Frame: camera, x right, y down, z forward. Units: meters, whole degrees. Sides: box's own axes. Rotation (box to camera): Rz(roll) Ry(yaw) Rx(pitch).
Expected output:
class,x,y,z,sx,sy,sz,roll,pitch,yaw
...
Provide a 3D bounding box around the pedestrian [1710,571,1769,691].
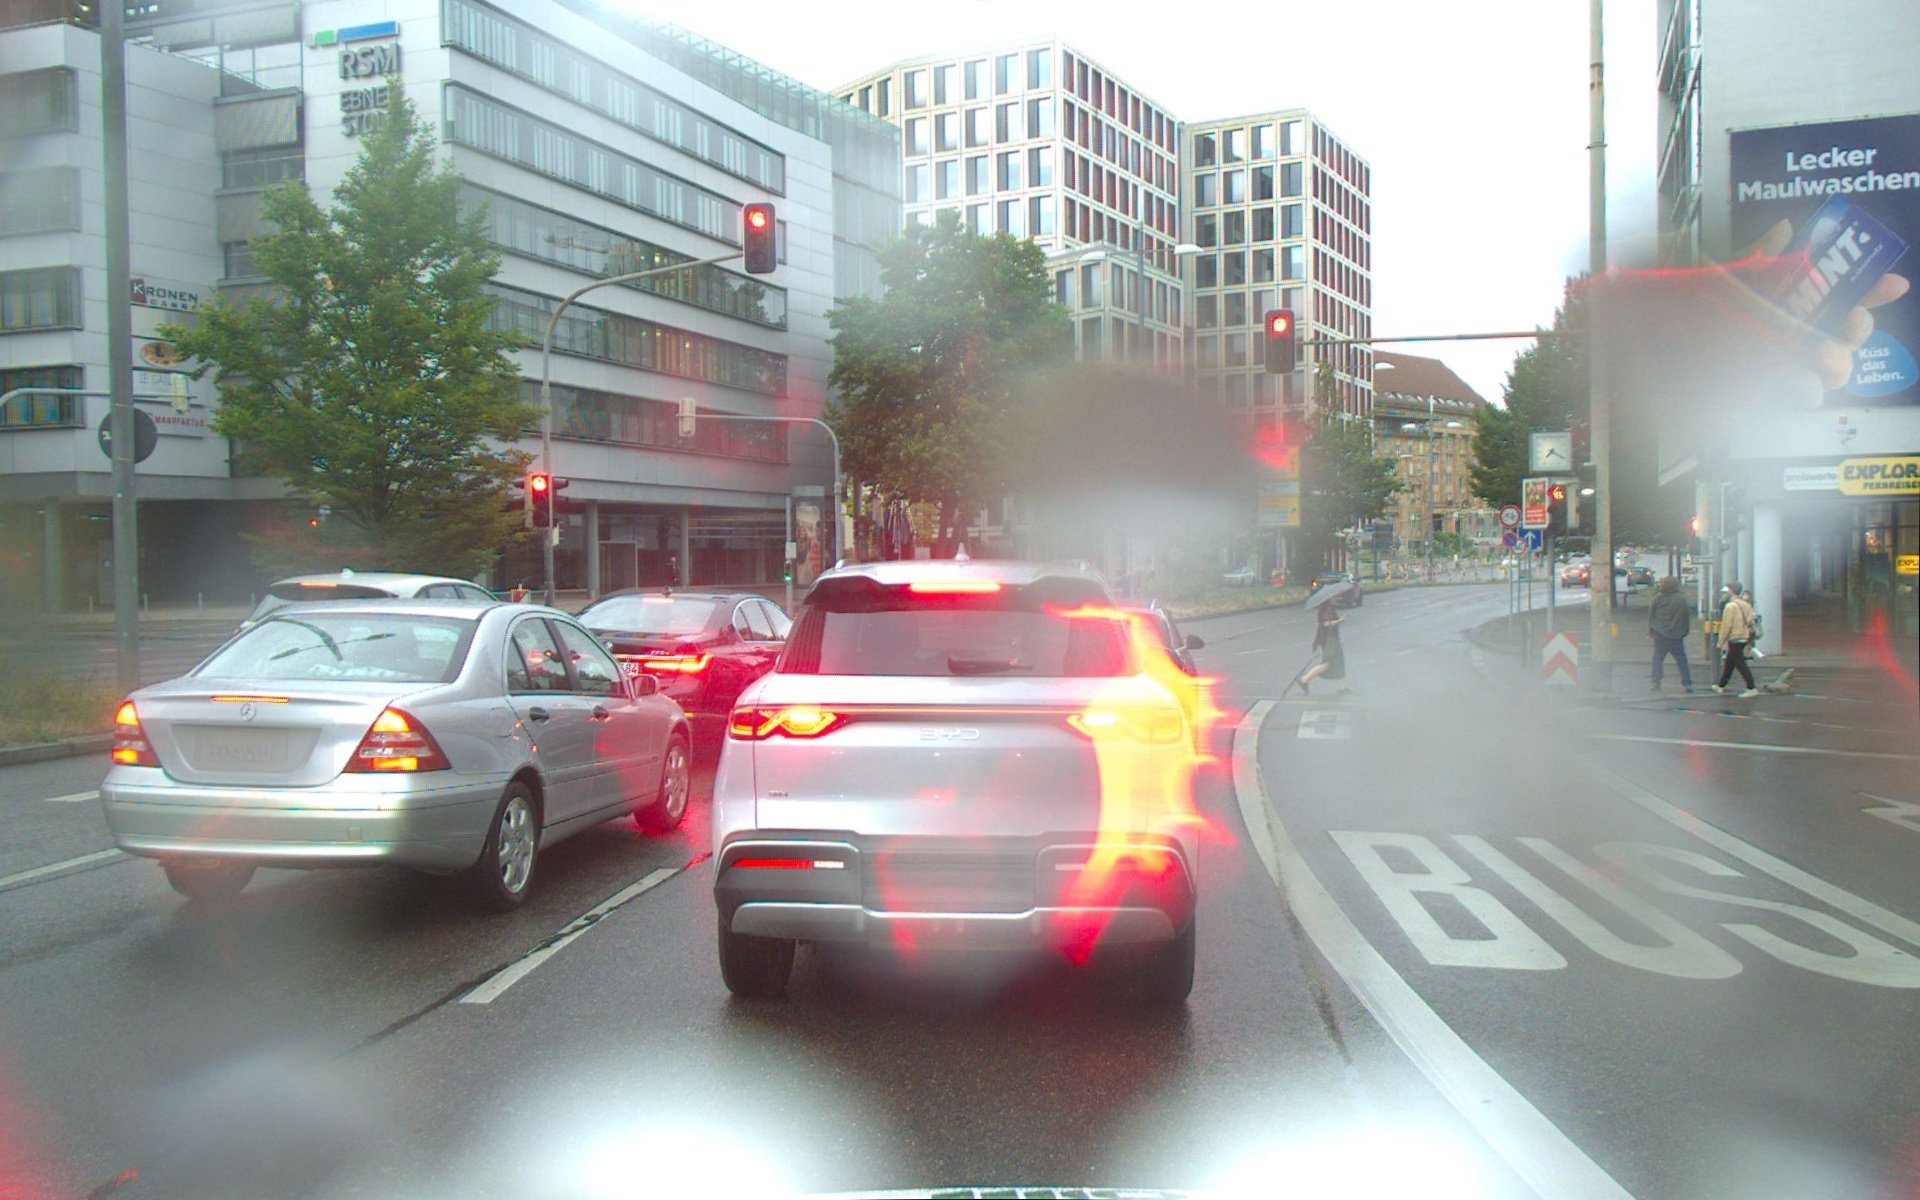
class,x,y,z,sx,sy,sz,roll,pitch,yaw
pedestrian,12.160,0.471,25.813,0.712,1.830,0.740,0,0,15

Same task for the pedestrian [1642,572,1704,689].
class,x,y,z,sx,sy,sz,roll,pitch,yaw
pedestrian,11.324,0.469,26.285,0.795,1.830,0.711,0,0,15

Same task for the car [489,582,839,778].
class,x,y,z,sx,sy,sz,roll,pitch,yaw
car,-2.553,0.618,15.340,1.913,1.557,4.004,0,0,10

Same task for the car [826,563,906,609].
class,x,y,z,sx,sy,sz,roll,pitch,yaw
car,-3.806,-0.604,67.748,1.952,1.735,4.003,1,2,18

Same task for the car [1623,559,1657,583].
class,x,y,z,sx,sy,sz,roll,pitch,yaw
car,52.989,-2.263,128.830,2.007,1.796,4.351,2,1,27

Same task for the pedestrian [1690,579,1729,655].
class,x,y,z,sx,sy,sz,roll,pitch,yaw
pedestrian,17.017,0.384,37.558,0.712,1.698,0.691,0,-1,15

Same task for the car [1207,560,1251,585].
class,x,y,z,sx,sy,sz,roll,pitch,yaw
car,19.512,-2.023,119.848,1.954,1.735,4.305,1,2,26

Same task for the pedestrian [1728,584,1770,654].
class,x,y,z,sx,sy,sz,roll,pitch,yaw
pedestrian,17.747,0.430,37.213,0.712,1.551,0.760,0,-1,15

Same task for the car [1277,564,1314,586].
class,x,y,z,sx,sy,sz,roll,pitch,yaw
car,28.156,-2.079,138.752,1.954,1.735,4.305,1,2,26

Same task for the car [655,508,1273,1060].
class,x,y,z,sx,sy,sz,roll,pitch,yaw
car,0.054,0.561,7.551,1.952,1.739,4.483,-1,1,1

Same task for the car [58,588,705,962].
class,x,y,z,sx,sy,sz,roll,pitch,yaw
car,-2.730,0.701,8.922,1.646,1.512,4.199,0,1,6

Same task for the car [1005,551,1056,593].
class,x,y,z,sx,sy,sz,roll,pitch,yaw
car,3.874,-1.500,90.498,1.700,2.199,4.496,1,0,17

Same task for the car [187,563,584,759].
class,x,y,z,sx,sy,sz,roll,pitch,yaw
car,-5.320,0.486,15.933,1.844,1.624,4.004,0,1,11

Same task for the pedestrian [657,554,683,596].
class,x,y,z,sx,sy,sz,roll,pitch,yaw
pedestrian,-12.144,-1.047,69.283,0.712,1.757,0.925,0,0,21

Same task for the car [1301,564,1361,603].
class,x,y,z,sx,sy,sz,roll,pitch,yaw
car,16.125,-0.723,71.761,1.953,1.579,4.000,1,1,22

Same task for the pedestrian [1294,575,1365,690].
class,x,y,z,sx,sy,sz,roll,pitch,yaw
pedestrian,5.758,0.499,25.804,0.904,1.768,0.729,0,0,-6

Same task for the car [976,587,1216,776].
class,x,y,z,sx,sy,sz,roll,pitch,yaw
car,1.436,0.662,15.900,1.913,1.557,4.004,0,0,10

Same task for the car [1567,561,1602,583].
class,x,y,z,sx,sy,sz,roll,pitch,yaw
car,44.607,-1.985,118.079,1.873,1.536,4.352,2,1,27
